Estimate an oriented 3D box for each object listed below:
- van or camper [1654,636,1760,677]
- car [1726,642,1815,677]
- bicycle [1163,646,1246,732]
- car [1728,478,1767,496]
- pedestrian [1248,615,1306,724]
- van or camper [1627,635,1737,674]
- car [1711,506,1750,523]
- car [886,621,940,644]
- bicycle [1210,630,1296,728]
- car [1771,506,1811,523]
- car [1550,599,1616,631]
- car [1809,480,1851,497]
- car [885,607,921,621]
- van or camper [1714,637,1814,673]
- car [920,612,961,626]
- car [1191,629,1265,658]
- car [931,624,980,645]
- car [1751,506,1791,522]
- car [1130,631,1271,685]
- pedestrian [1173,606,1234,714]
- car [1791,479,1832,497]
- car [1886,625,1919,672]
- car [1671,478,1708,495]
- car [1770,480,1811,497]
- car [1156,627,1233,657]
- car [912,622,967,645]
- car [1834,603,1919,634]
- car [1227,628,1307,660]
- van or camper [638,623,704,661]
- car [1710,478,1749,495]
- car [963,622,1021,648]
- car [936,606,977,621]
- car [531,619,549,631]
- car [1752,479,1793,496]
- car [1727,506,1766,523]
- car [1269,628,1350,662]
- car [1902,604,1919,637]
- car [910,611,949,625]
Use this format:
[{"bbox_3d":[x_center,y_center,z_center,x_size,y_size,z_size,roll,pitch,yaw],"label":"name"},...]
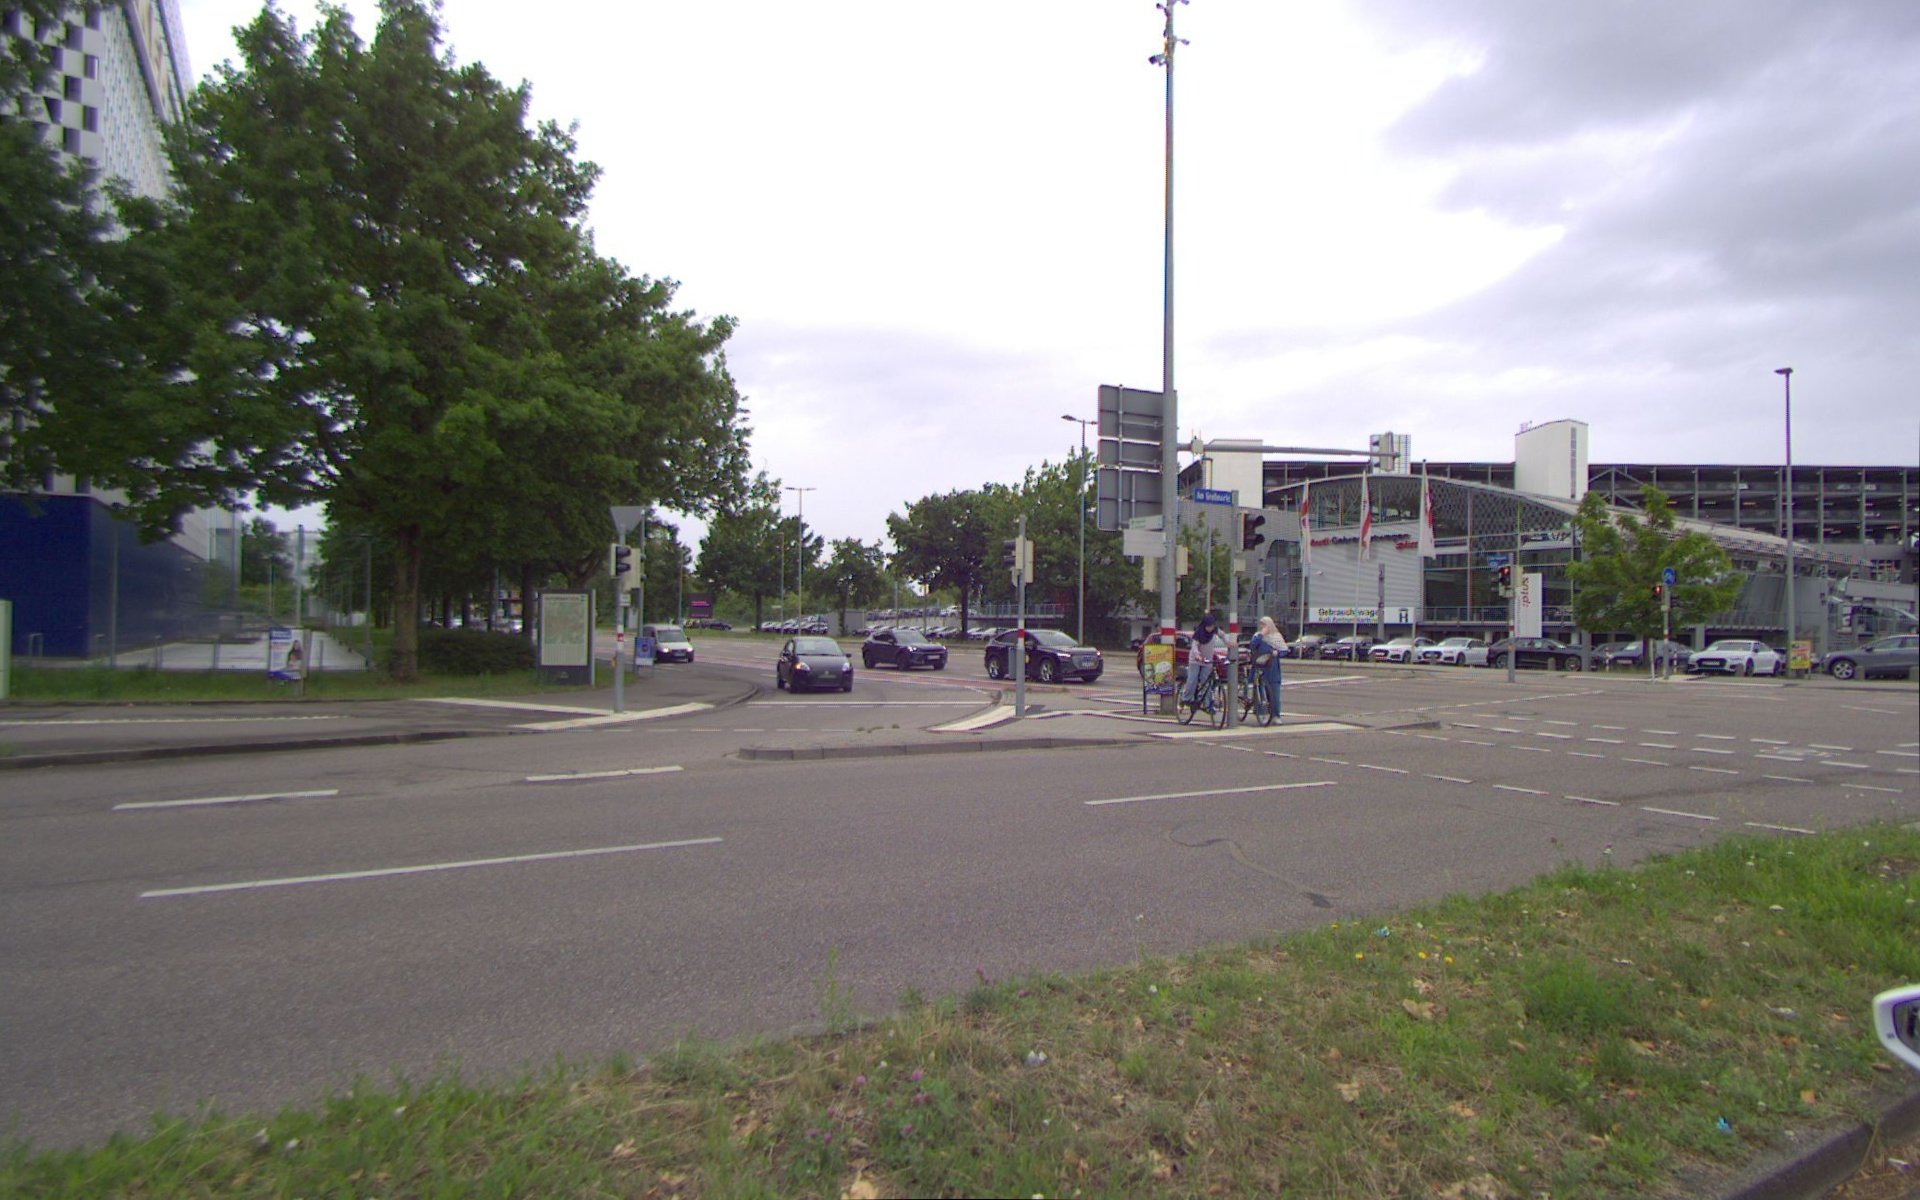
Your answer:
[{"bbox_3d":[38.265,2.865,51.516,1.828,1.840,3.963,3,0,-33],"label":"van or camper"},{"bbox_3d":[50.200,3.683,62.293,1.742,1.862,3.960,3,0,-35],"label":"car"},{"bbox_3d":[3.663,1.303,15.194,0.499,1.181,1.945,3,-3,-7],"label":"bicycle"},{"bbox_3d":[100.790,-14.448,128.588,1.960,1.689,4.001,1,0,2],"label":"car"},{"bbox_3d":[4.916,1.074,15.611,0.628,1.648,0.692,0,-2,-4],"label":"pedestrian"},{"bbox_3d":[35.818,2.681,49.906,1.979,1.699,3.963,3,0,-33],"label":"van or camper"},{"bbox_3d":[98.653,-10.932,128.631,1.960,1.689,4.001,1,0,2],"label":"car"},{"bbox_3d":[-4.218,2.928,89.901,4.364,1.539,1.982,9,-3,-33],"label":"car"},{"bbox_3d":[4.503,1.181,15.581,0.586,1.414,1.932,0,-2,-6],"label":"bicycle"},{"bbox_3d":[106.107,-10.916,128.282,1.960,1.689,4.001,1,0,2],"label":"car"},{"bbox_3d":[36.352,0.869,58.561,3.960,1.684,1.807,3,0,-35],"label":"car"},{"bbox_3d":[110.932,-14.190,128.140,1.960,1.689,4.001,1,0,2],"label":"car"},{"bbox_3d":[-6.948,1.771,122.718,4.058,1.516,1.713,3,0,-35],"label":"car"},{"bbox_3d":[44.726,3.065,55.937,1.828,1.734,3.963,3,0,-33],"label":"van or camper"},{"bbox_3d":[-2.222,2.213,116.910,4.306,1.516,2.049,3,0,-35],"label":"car"},{"bbox_3d":[15.474,2.487,57.925,4.126,1.408,1.885,5,-3,-34],"label":"car"},{"bbox_3d":[-0.344,2.828,82.573,3.639,1.506,1.696,3,0,-34],"label":"car"},{"bbox_3d":[103.649,-10.961,128.394,1.960,1.689,4.001,1,0,2],"label":"car"},{"bbox_3d":[7.196,1.709,30.428,1.723,1.507,4.039,0,-2,-35],"label":"car"},{"bbox_3d":[3.655,0.897,15.116,0.642,1.569,0.649,3,-2,-8],"label":"pedestrian"},{"bbox_3d":[108.760,-14.295,128.355,1.960,1.689,4.001,1,0,2],"label":"car"},{"bbox_3d":[43.231,2.108,43.159,1.981,2.040,4.741,3,-4,-35],"label":"car"},{"bbox_3d":[93.547,-14.521,128.813,1.960,1.689,4.001,1,0,2],"label":"car"},{"bbox_3d":[106.124,-14.228,128.423,1.960,1.689,4.001,1,0,2],"label":"car"},{"bbox_3d":[14.080,2.522,60.205,4.617,1.491,1.830,5,-3,-34],"label":"car"},{"bbox_3d":[-1.723,2.844,85.406,4.146,1.475,1.916,8,-3,-32],"label":"car"},{"bbox_3d":[61.898,1.229,67.819,1.740,1.862,3.965,3,0,-32],"label":"car"},{"bbox_3d":[17.032,2.441,55.674,4.336,1.489,1.877,5,-3,-34],"label":"car"},{"bbox_3d":[-13.763,2.025,47.719,1.977,1.744,4.359,1,-3,-31],"label":"van or camper"},{"bbox_3d":[98.582,-14.547,128.775,1.960,1.689,4.001,1,0,2],"label":"car"},{"bbox_3d":[2.515,2.754,78.888,4.169,1.505,1.940,8,-3,-34],"label":"car"},{"bbox_3d":[-0.362,1.511,114.356,4.306,1.516,1.863,3,0,-35],"label":"car"},{"bbox_3d":[-65.943,3.920,157.627,2.118,1.684,3.750,3,0,-31],"label":"car"},{"bbox_3d":[103.852,-14.332,128.432,1.960,1.689,4.001,1,0,2],"label":"car"},{"bbox_3d":[100.862,-10.966,128.886,1.960,1.689,4.001,1,0,2],"label":"car"},{"bbox_3d":[18.549,2.398,53.258,4.149,1.505,1.891,5,-3,-34],"label":"car"},{"bbox_3d":[58.514,1.288,60.323,3.959,1.873,1.981,3,0,-34],"label":"car"},{"bbox_3d":[-3.584,2.145,118.620,4.306,1.516,1.951,3,0,-35],"label":"car"}]
